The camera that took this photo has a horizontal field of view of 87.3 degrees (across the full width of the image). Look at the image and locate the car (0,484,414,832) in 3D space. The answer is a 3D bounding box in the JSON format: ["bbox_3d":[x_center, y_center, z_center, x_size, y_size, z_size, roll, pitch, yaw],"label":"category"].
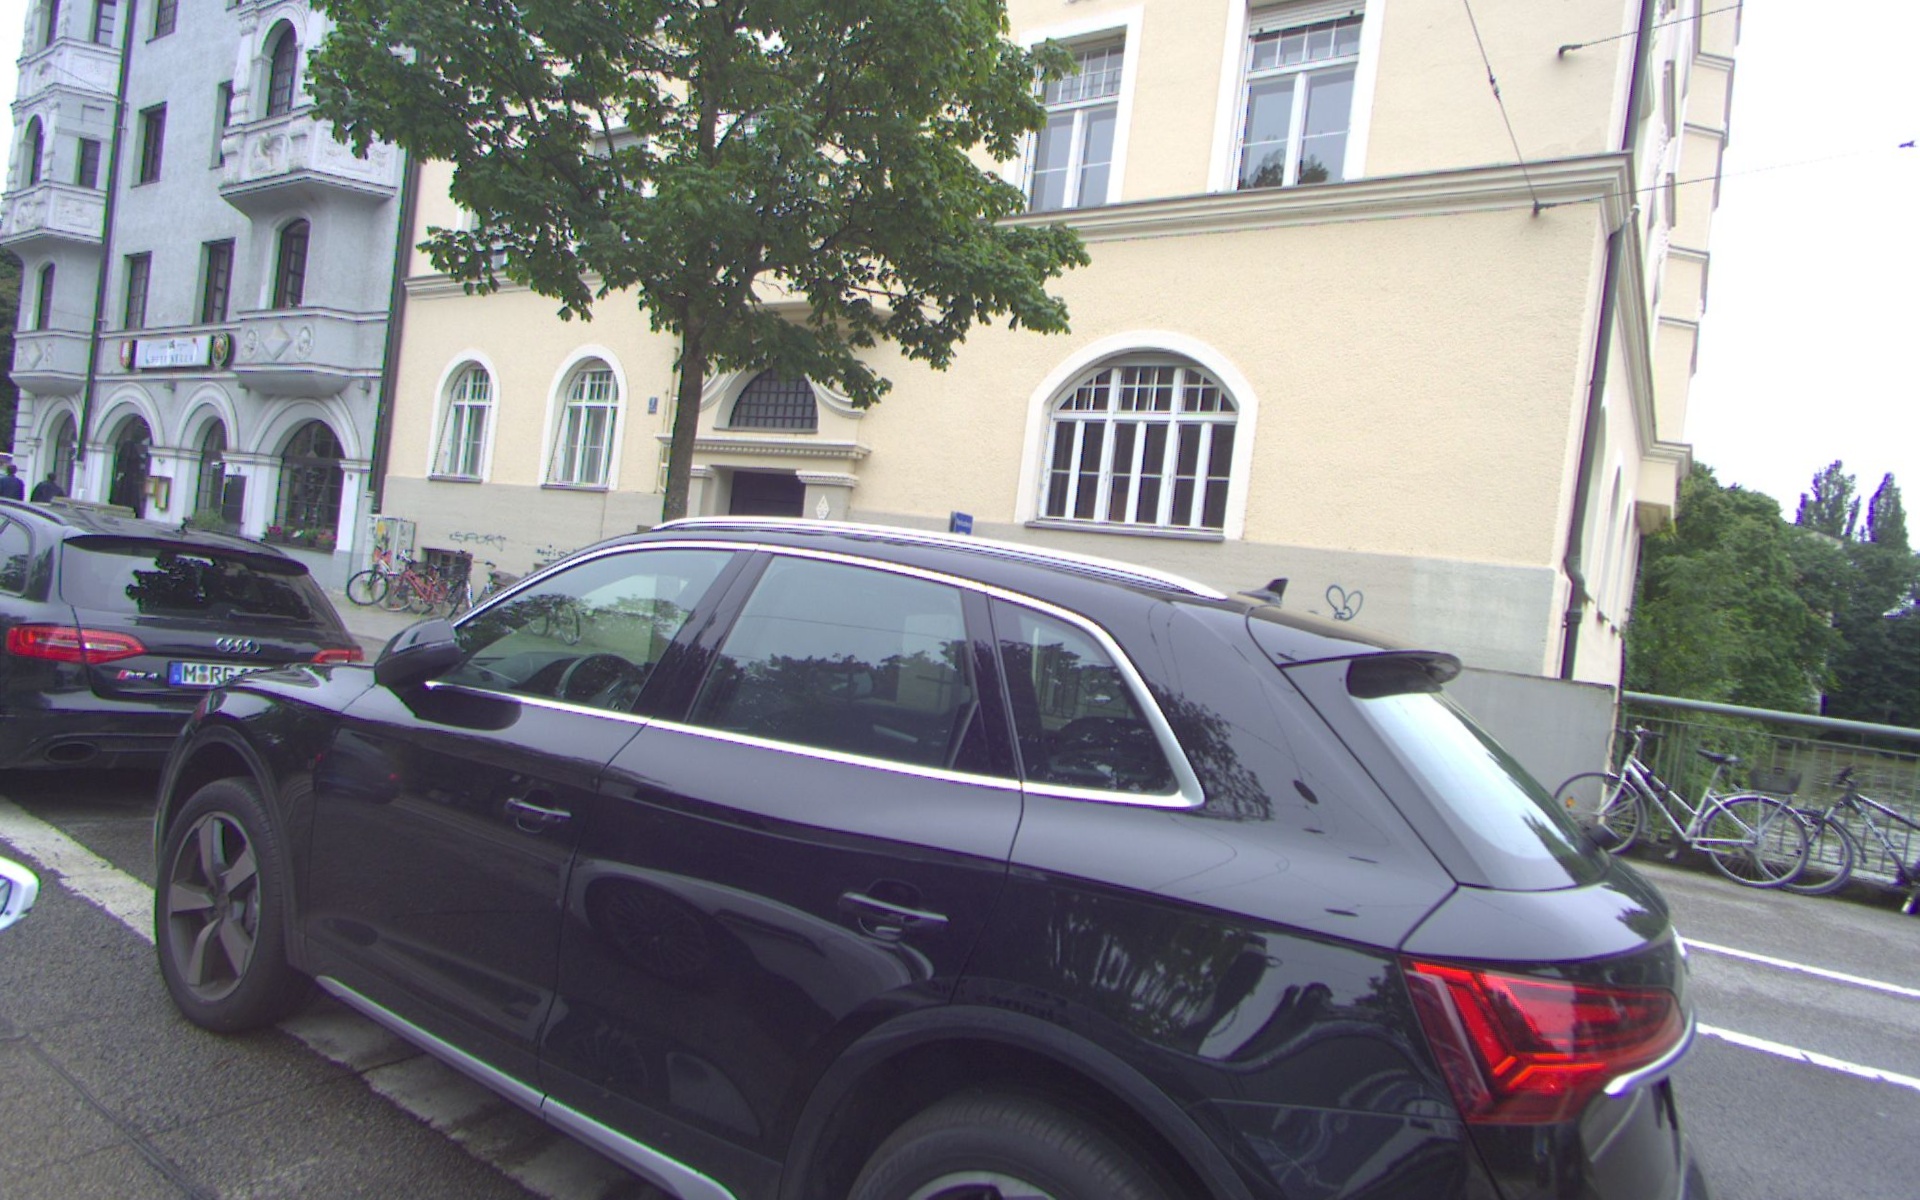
[{"bbox_3d":[-5.484,0.102,6.034,4.525,1.442,1.719,7,-2,31],"label":"car"}]

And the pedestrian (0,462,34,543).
[{"bbox_3d":[-23.017,-2.364,24.203,0.855,1.838,0.706,7,-1,32],"label":"pedestrian"}]

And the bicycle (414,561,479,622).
[{"bbox_3d":[-8.830,-0.133,17.315,0.269,0.941,0.884,7,-1,32],"label":"bicycle"}]

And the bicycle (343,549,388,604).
[{"bbox_3d":[-11.159,-0.440,18.879,0.871,0.941,0.259,7,-1,33],"label":"bicycle"}]

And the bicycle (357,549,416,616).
[{"bbox_3d":[-10.111,-0.320,17.727,1.203,1.051,0.242,7,-1,32],"label":"bicycle"}]

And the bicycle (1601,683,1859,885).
[{"bbox_3d":[6.197,1.447,8.184,1.511,1.327,0.332,7,-1,30],"label":"bicycle"}]

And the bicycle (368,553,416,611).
[{"bbox_3d":[-10.382,-0.333,18.395,0.871,0.941,0.291,7,-1,33],"label":"bicycle"}]

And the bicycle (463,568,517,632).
[{"bbox_3d":[-7.751,-0.006,16.573,0.871,0.941,0.285,7,-1,33],"label":"bicycle"}]

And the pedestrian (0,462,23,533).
[{"bbox_3d":[-28.473,-3.069,29.833,0.663,2.039,0.715,7,1,29],"label":"pedestrian"}]

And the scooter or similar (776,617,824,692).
[{"bbox_3d":[-2.102,0.712,13.195,0.413,0.921,0.348,7,-1,11],"label":"scooter or similar"}]

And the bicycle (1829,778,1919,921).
[{"bbox_3d":[7.167,1.874,7.384,1.122,0.948,0.249,6,3,10],"label":"bicycle"}]

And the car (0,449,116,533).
[{"bbox_3d":[-37.089,-4.448,39.562,2.192,2.642,5.310,7,-2,29],"label":"car"}]

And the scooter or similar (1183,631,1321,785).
[{"bbox_3d":[2.852,1.038,9.878,1.123,1.328,0.261,7,-1,32],"label":"scooter or similar"}]

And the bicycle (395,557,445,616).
[{"bbox_3d":[-9.602,-0.238,17.869,0.871,0.941,0.306,7,-1,34],"label":"bicycle"}]

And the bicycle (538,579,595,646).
[{"bbox_3d":[-6.110,0.188,15.610,0.871,0.941,0.222,7,-1,31],"label":"bicycle"}]

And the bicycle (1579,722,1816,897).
[{"bbox_3d":[5.970,1.674,8.212,1.417,1.119,0.287,7,0,24],"label":"bicycle"}]

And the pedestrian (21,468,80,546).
[{"bbox_3d":[-22.318,-2.272,24.689,0.829,1.752,0.706,7,-1,32],"label":"pedestrian"}]

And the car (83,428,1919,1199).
[{"bbox_3d":[-0.427,0.582,2.836,4.414,1.677,1.777,7,-1,32],"label":"car"}]
